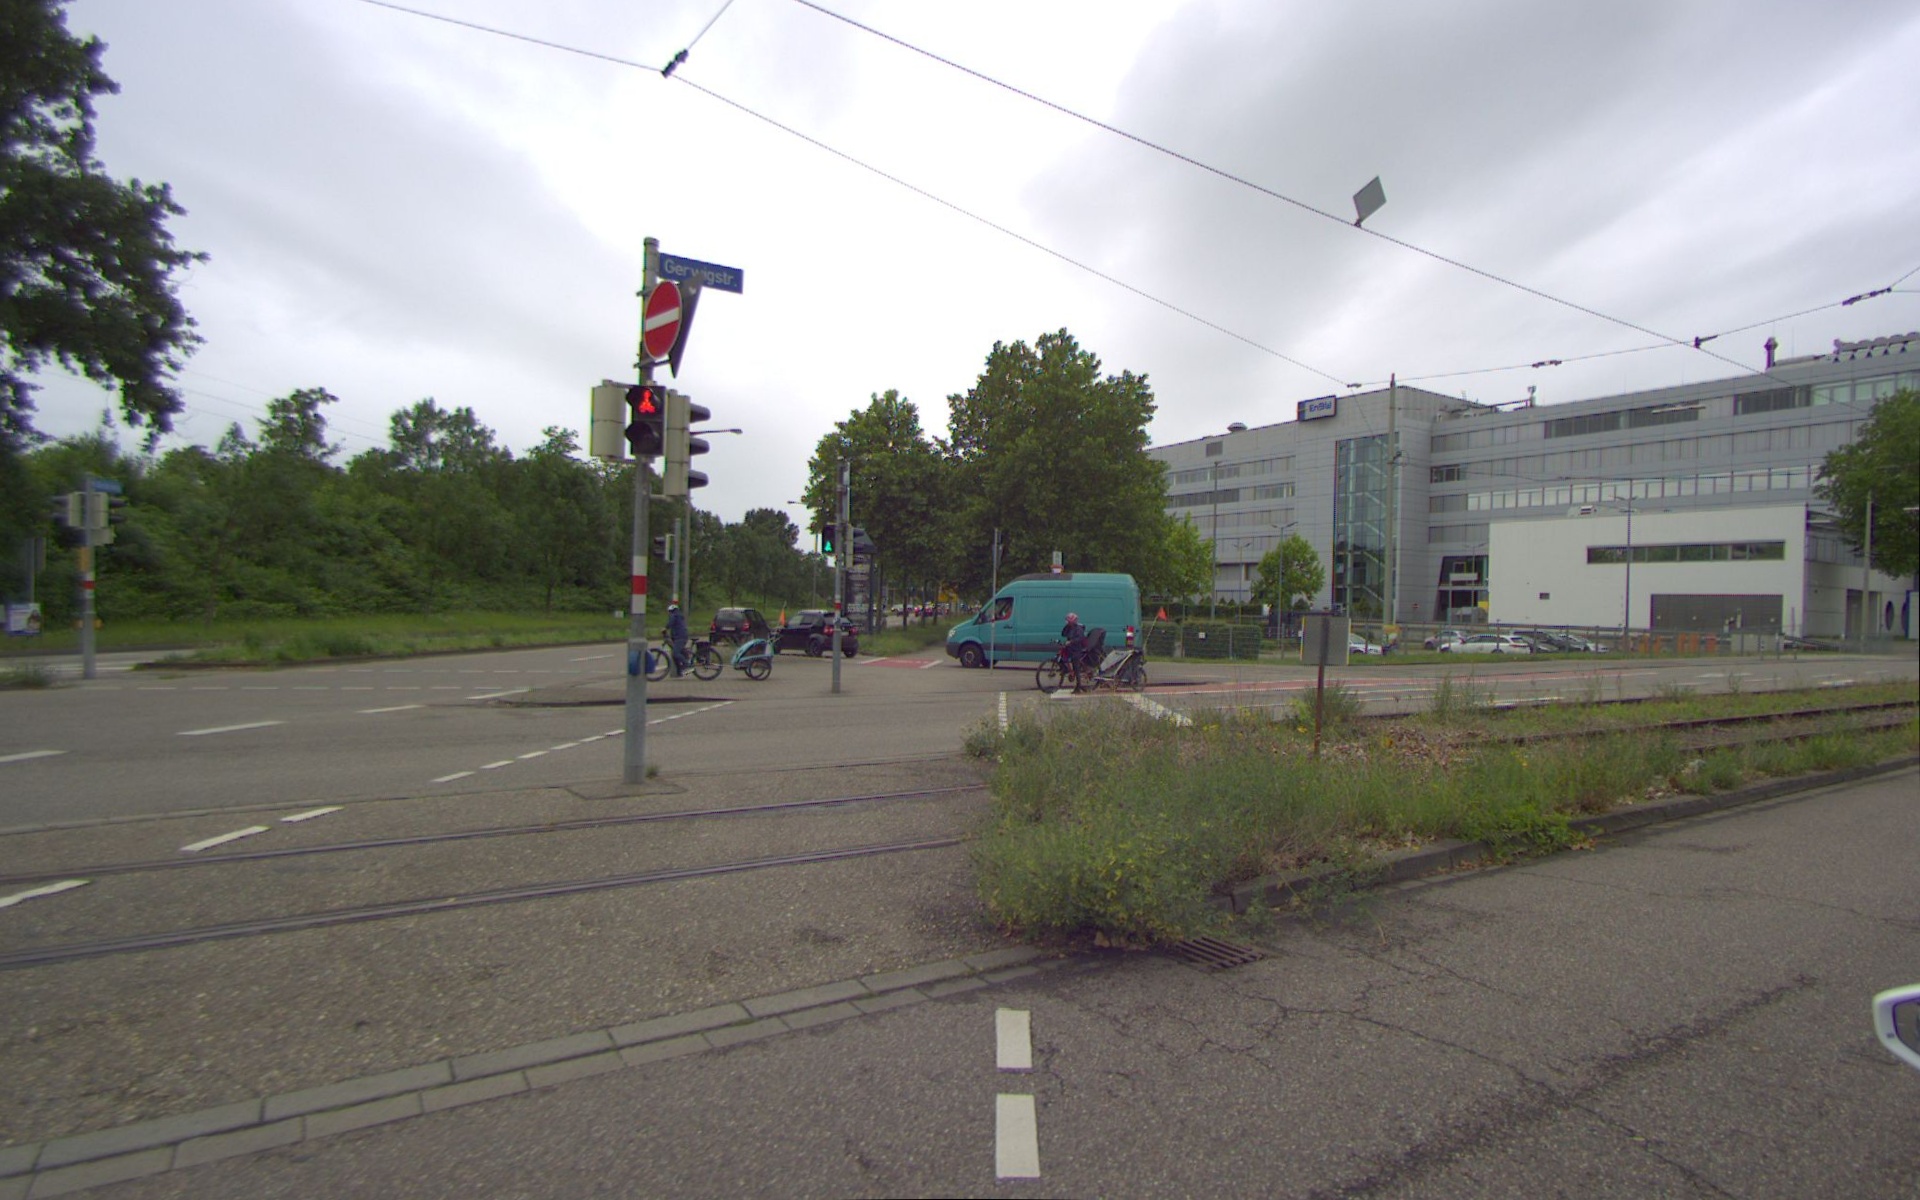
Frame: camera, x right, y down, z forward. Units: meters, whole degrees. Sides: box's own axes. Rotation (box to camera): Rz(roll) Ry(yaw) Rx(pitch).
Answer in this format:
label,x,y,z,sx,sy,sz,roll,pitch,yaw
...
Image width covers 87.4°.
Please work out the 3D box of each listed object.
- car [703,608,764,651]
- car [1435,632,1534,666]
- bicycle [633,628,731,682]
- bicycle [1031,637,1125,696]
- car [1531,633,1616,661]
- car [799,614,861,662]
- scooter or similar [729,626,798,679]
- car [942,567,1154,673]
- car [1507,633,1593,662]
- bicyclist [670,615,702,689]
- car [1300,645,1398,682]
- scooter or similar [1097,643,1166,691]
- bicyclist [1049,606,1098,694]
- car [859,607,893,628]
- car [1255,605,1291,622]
label,x,y,z,sx,sy,sz,roll,pitch,yaw
car,-9.302,1.163,41.492,1.740,1.548,3.668,2,1,-2
car,28.777,2.683,55.223,1.894,1.655,4.497,2,-1,-35
bicycle,-5.939,1.168,21.509,1.967,1.076,0.645,2,2,-15
bicycle,2.389,1.308,20.236,2.007,1.076,0.640,1,2,-39
car,36.951,2.829,60.594,1.894,1.505,3.961,2,-1,-35
car,-4.629,1.293,35.311,1.744,1.548,3.659,2,-1,-14
scooter or similar,-4.296,1.149,21.952,1.425,1.076,0.645,2,2,-15
car,2.629,0.544,29.762,5.830,2.863,2.337,1,0,17
car,34.460,2.781,58.744,1.894,1.505,3.961,2,-1,-35
bicyclist,-5.862,1.102,21.520,0.616,1.539,0.645,1,2,-15
car,18.938,3.047,49.041,1.891,1.552,4.190,2,-1,-31
scooter or similar,3.643,1.409,21.320,1.188,0.919,0.837,1,2,-39
bicyclist,2.274,0.984,20.126,0.680,1.706,0.640,1,2,-39
car,-6.853,1.414,82.839,1.929,1.548,5.012,2,1,5
car,40.481,1.721,129.821,4.599,2.040,1.982,2,-1,-33
